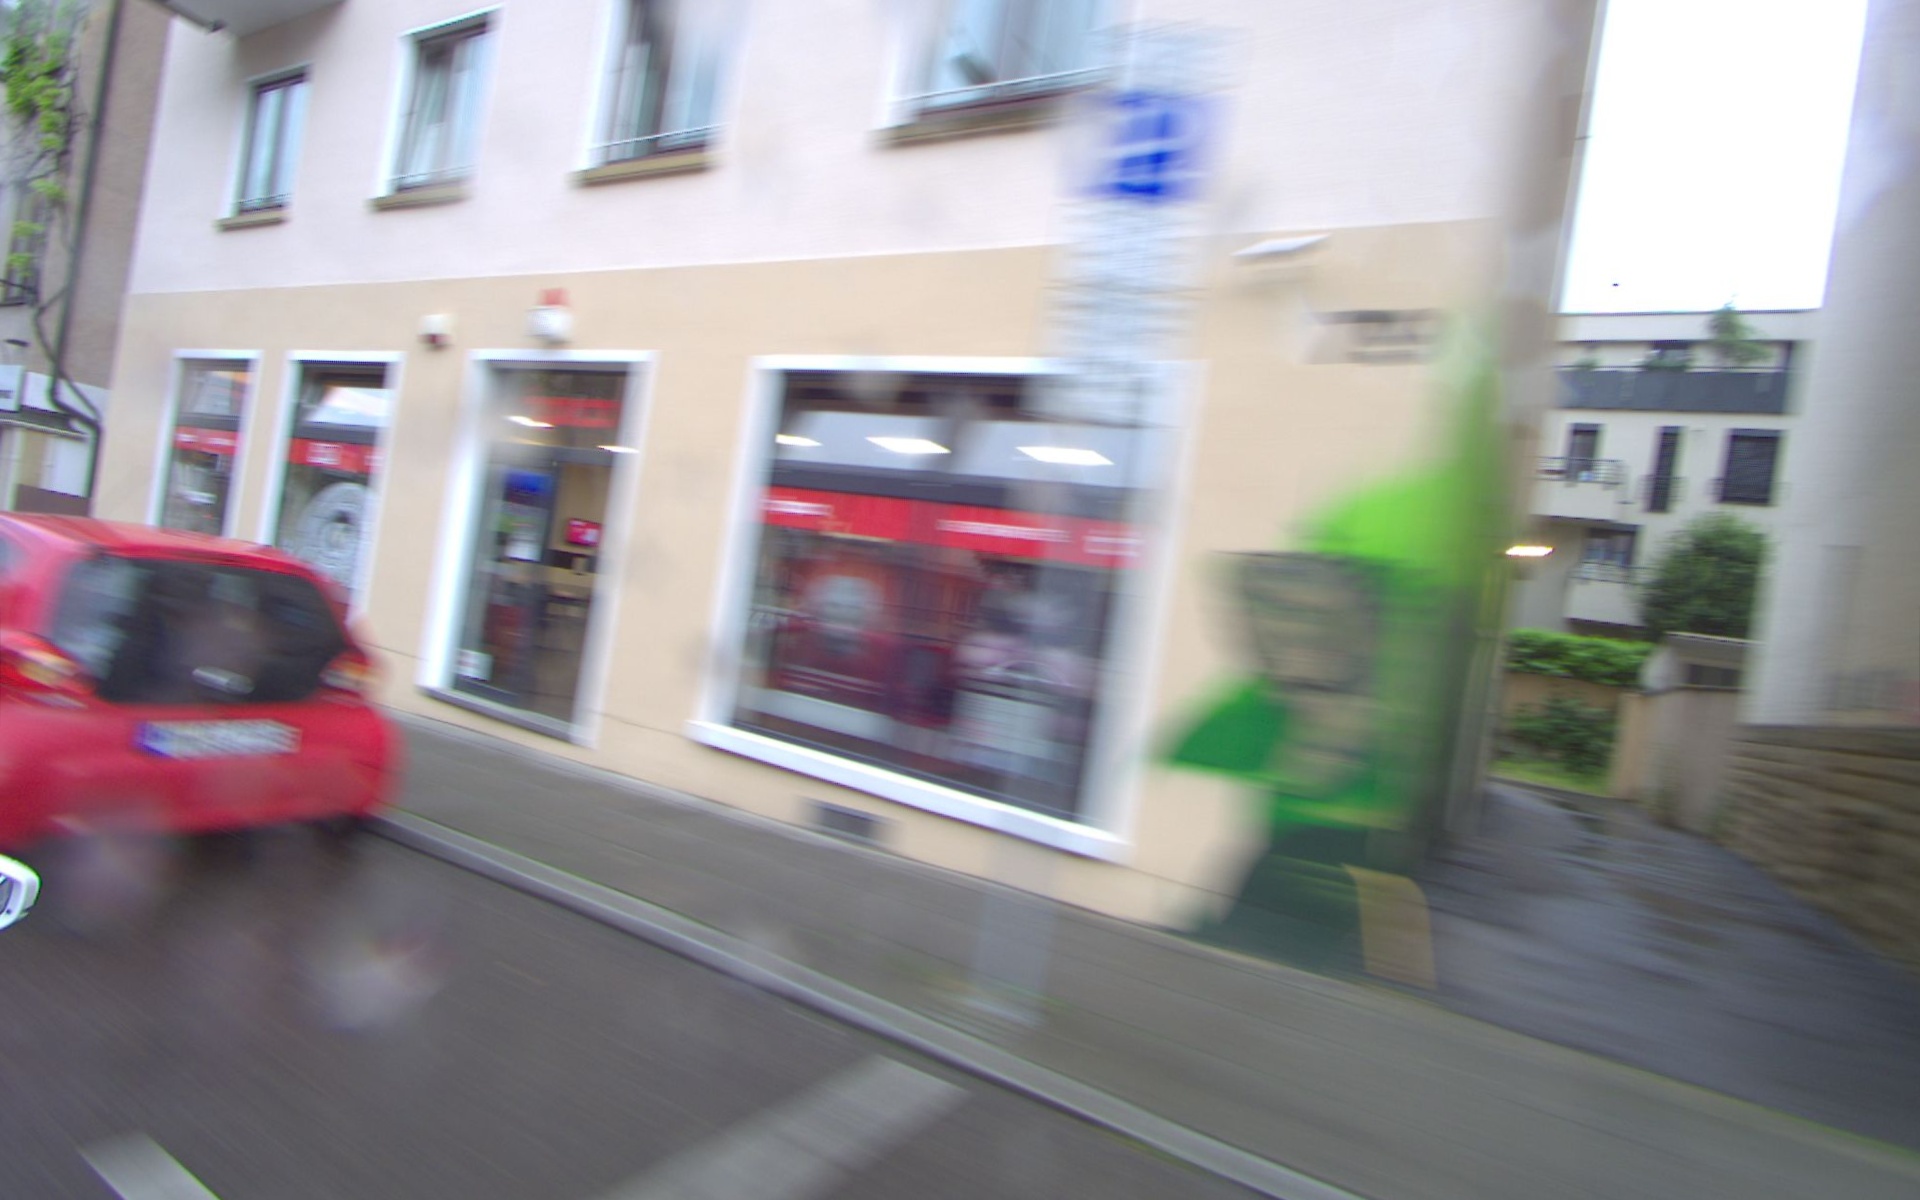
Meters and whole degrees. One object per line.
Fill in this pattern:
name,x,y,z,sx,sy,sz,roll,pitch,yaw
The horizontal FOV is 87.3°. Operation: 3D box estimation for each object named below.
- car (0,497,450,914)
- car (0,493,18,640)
car,-4.442,0.287,5.070,3.388,1.479,1.719,7,-1,32
car,-9.355,-0.324,8.122,3.357,1.479,1.648,7,-1,32
